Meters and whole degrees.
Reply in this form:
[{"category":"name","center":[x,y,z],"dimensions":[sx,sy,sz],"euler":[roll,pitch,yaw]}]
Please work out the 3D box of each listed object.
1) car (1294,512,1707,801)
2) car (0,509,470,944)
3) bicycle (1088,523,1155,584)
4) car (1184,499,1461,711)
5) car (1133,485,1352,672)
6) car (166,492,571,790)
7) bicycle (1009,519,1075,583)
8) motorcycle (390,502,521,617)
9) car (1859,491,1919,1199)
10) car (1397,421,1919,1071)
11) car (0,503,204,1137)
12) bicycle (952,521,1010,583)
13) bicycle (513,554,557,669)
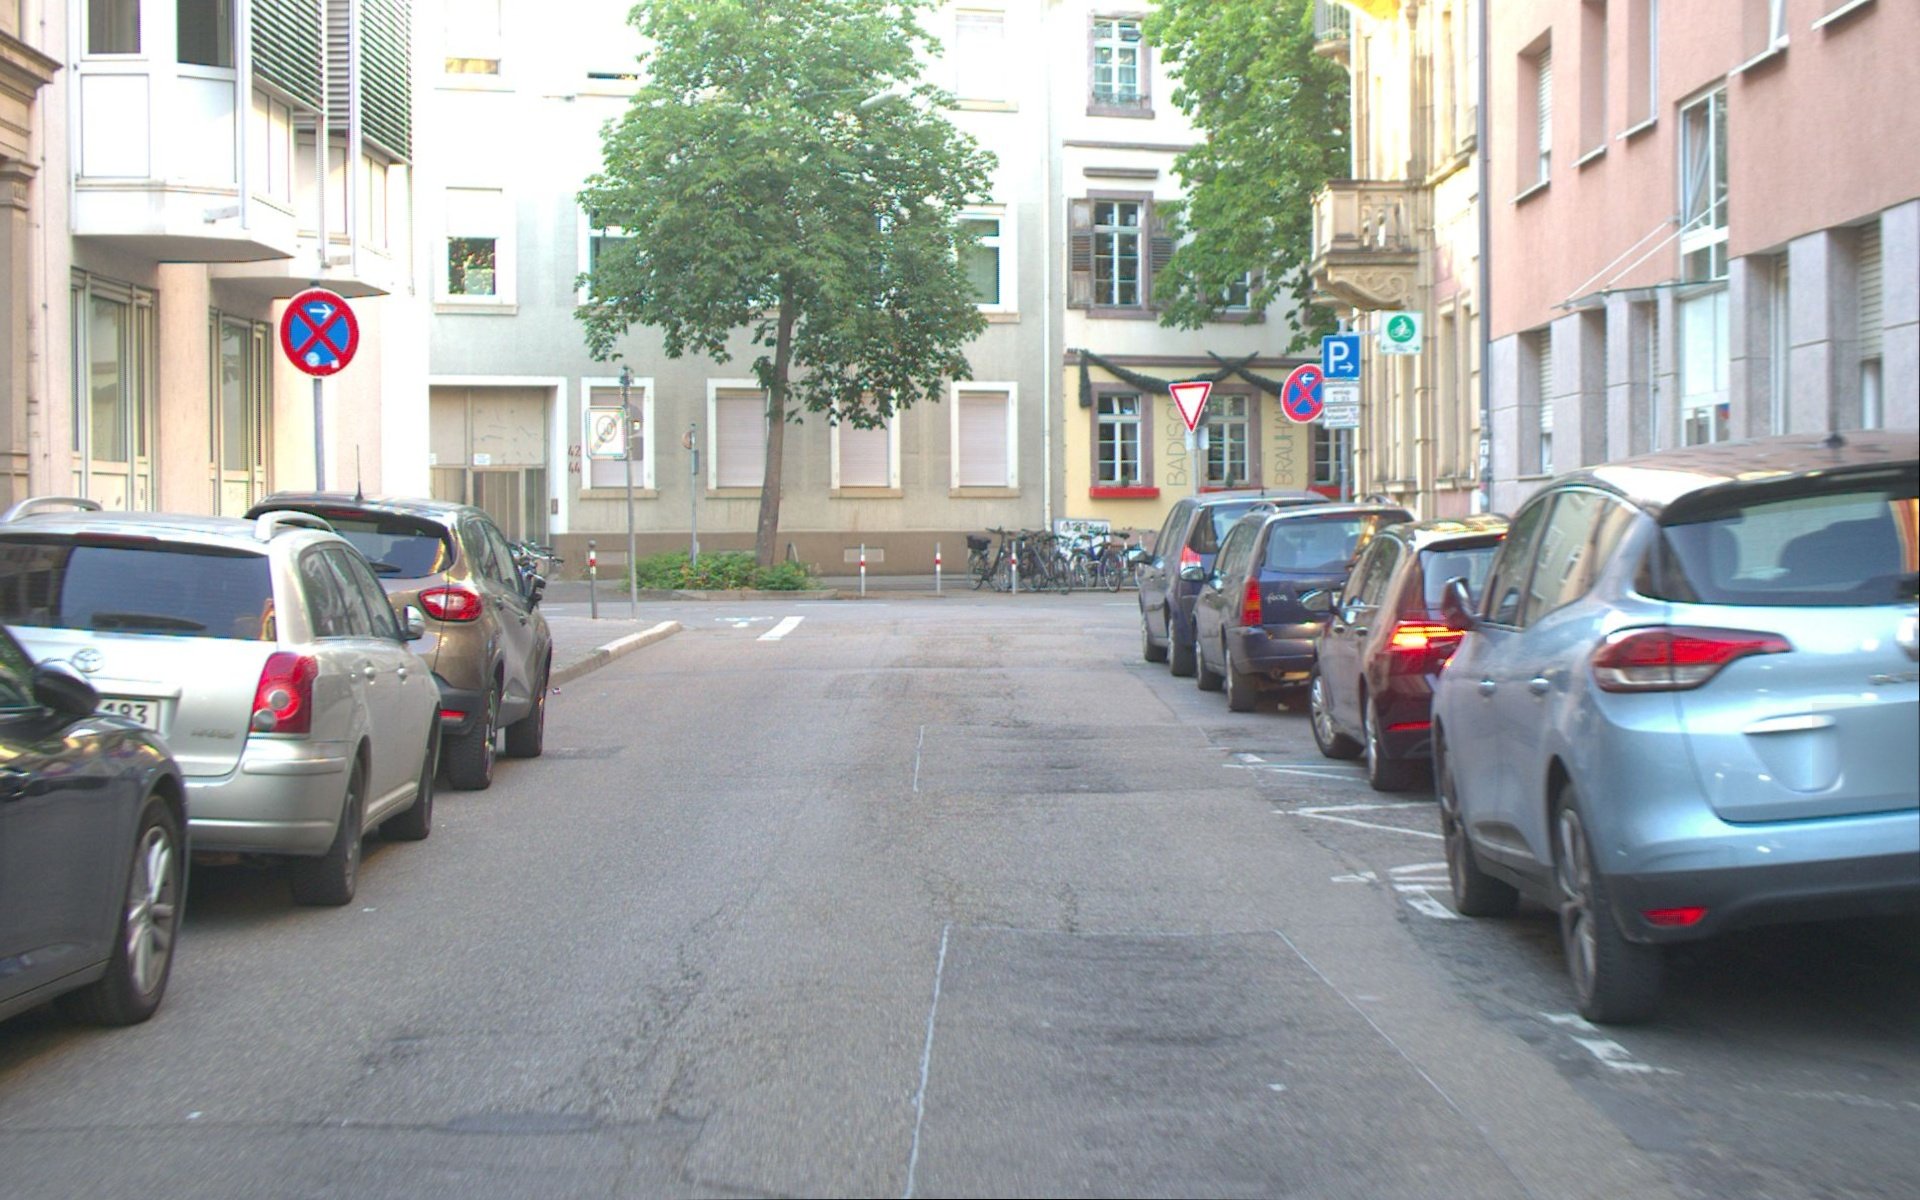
[{"category":"car","center":[2.946,0.233,19.524],"dimensions":[1.689,1.453,4.132],"euler":[0,2,0]},{"category":"car","center":[-3.208,0.391,14.395],"dimensions":[1.790,1.534,4.435],"euler":[0,2,-2]},{"category":"bicycle","center":[3.058,-0.892,65.215],"dimensions":[0.420,1.141,2.043],"euler":[-1,1,-23]},{"category":"car","center":[2.734,-0.021,26.737],"dimensions":[1.689,1.508,4.283],"euler":[0,2,0]},{"category":"car","center":[2.551,-0.239,31.856],"dimensions":[1.689,1.619,4.055],"euler":[0,2,0]},{"category":"car","center":[-3.365,0.161,20.273],"dimensions":[1.790,1.571,4.071],"euler":[0,2,-2]},{"category":"bicycle","center":[1.484,-0.900,62.670],"dimensions":[0.445,1.141,2.043],"euler":[-1,1,-21]},{"category":"motorcycle","center":[-6.963,-0.565,47.365],"dimensions":[0.667,1.550,2.161],"euler":[-2,2,-42]},{"category":"car","center":[2.468,0.631,4.631],"dimensions":[1.570,1.573,3.590],"euler":[0,2,0]},{"category":"car","center":[2.538,0.334,11.245],"dimensions":[1.689,1.735,4.110],"euler":[0,2,0]},{"category":"car","center":[-3.219,0.535,8.310],"dimensions":[1.790,1.534,4.494],"euler":[0,2,0]},{"category":"bicycle","center":[0.387,-0.900,64.210],"dimensions":[0.445,1.141,2.043],"euler":[-1,1,-18]},{"category":"bicycle","center":[-4.260,0.098,34.479],"dimensions":[0.400,1.098,1.813],"euler":[0,2,-6]}]
